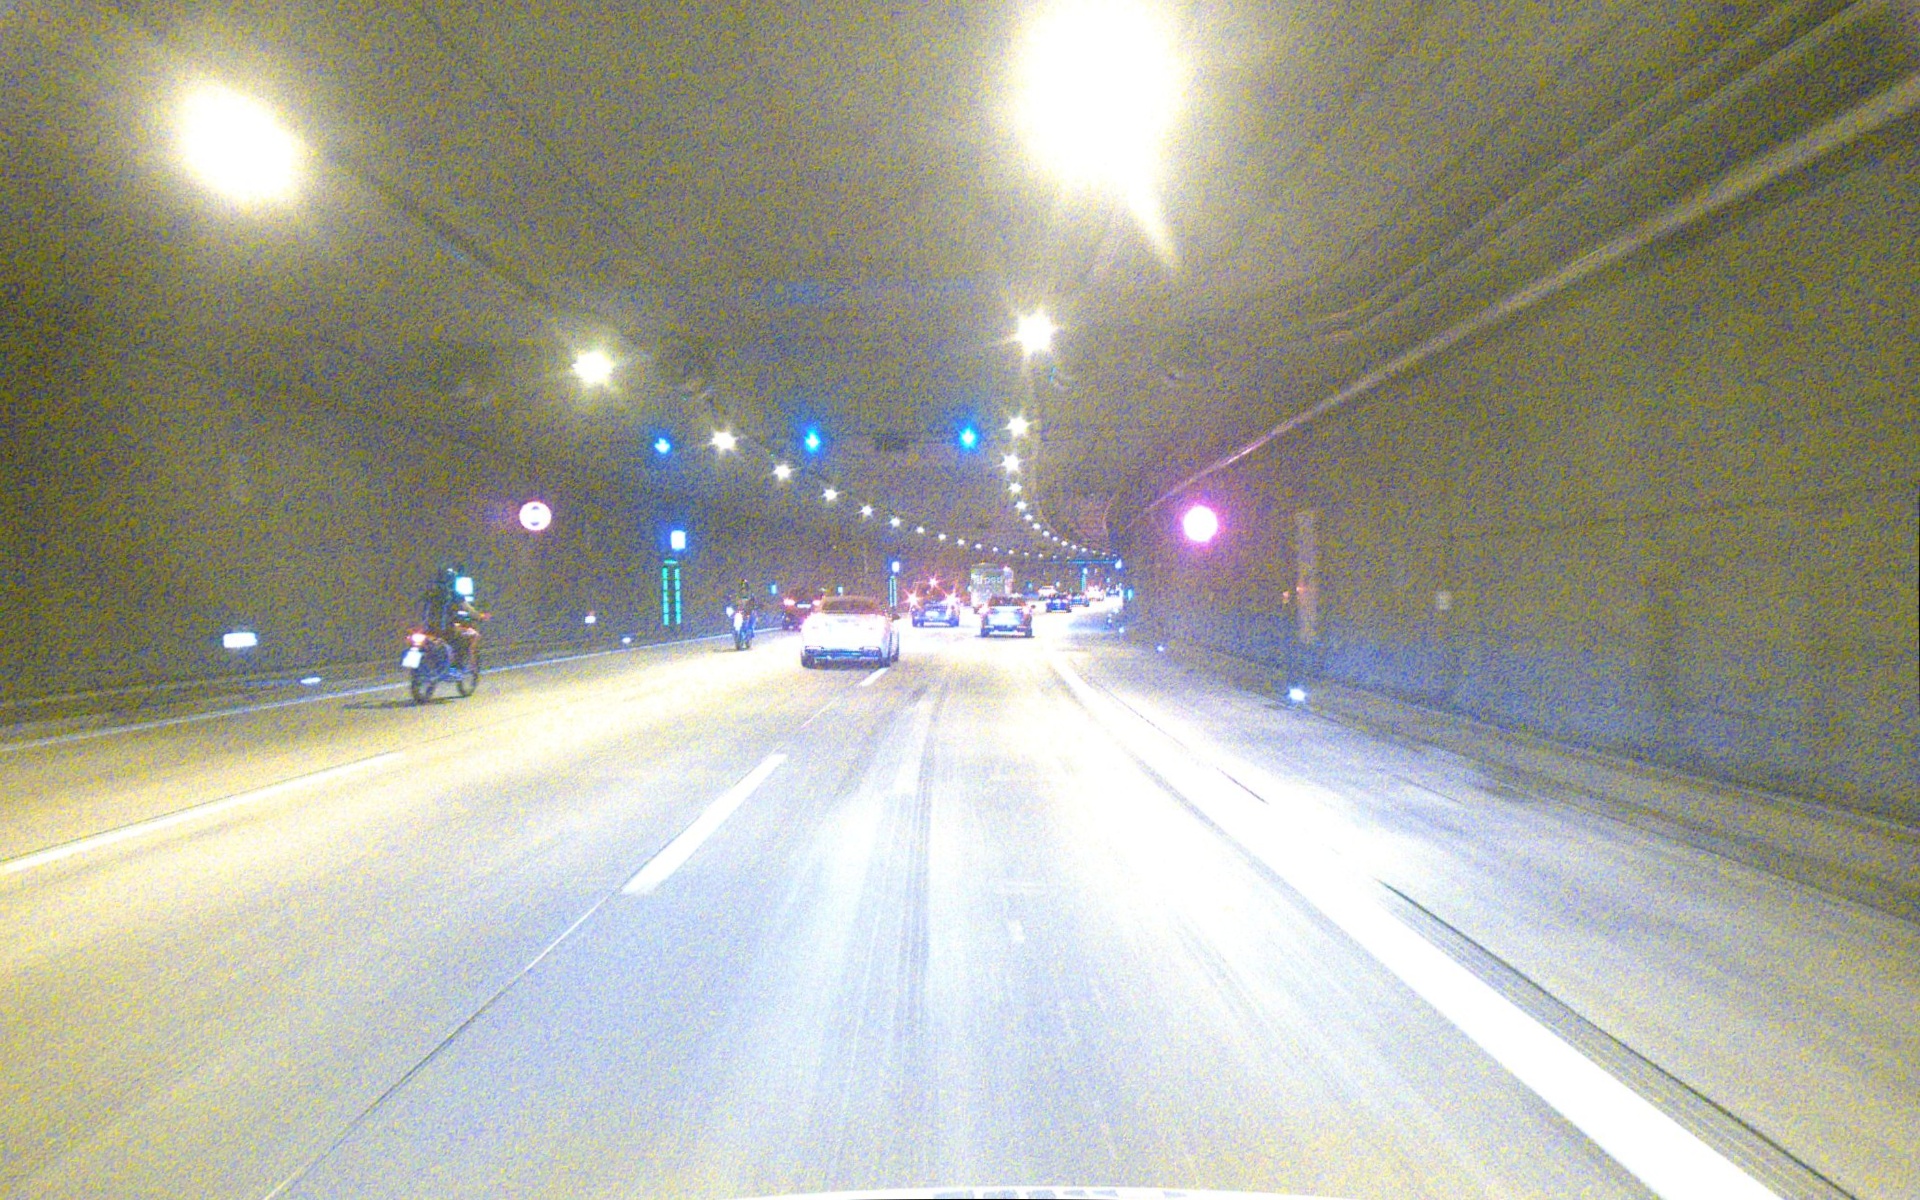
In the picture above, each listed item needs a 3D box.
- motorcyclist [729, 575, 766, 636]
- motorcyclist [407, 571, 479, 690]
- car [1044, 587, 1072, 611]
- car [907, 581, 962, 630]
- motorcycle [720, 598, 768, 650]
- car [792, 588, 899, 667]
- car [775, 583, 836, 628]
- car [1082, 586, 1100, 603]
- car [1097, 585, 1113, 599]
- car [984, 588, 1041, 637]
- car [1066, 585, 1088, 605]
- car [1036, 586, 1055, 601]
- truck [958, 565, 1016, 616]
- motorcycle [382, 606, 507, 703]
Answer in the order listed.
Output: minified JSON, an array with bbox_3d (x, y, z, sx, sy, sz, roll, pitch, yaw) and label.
[{"bbox_3d":[-5.434,0.134,42.272,0.822,1.503,0.822,1,2,0],"label":"motorcyclist"},{"bbox_3d":[-6.810,0.388,21.812,0.614,1.515,0.890,3,1,-1],"label":"motorcyclist"},{"bbox_3d":[7.128,-0.090,119.923,1.804,1.595,4.003,-2,0,6],"label":"car"},{"bbox_3d":[-1.057,0.219,71.693,1.951,2.006,4.002,2,0,4],"label":"car"},{"bbox_3d":[-5.445,0.595,41.879,0.828,1.267,2.604,1,0,1],"label":"motorcycle"},{"bbox_3d":[-2.280,0.524,33.934,1.953,1.509,3.999,0,0,-1],"label":"car"},{"bbox_3d":[-5.847,0.202,63.000,1.748,1.626,3.803,1,0,3],"label":"car"},{"bbox_3d":[14.339,-0.594,181.500,1.923,1.781,4.002,-2,0,4],"label":"car"},{"bbox_3d":[18.452,-1.036,210.123,1.794,1.720,4.003,-2,0,8],"label":"car"},{"bbox_3d":[1.874,0.404,57.833,1.801,1.630,4.002,1,0,4],"label":"car"},{"bbox_3d":[10.467,-0.482,147.894,1.819,1.695,4.003,-2,0,6],"label":"car"},{"bbox_3d":[9.413,-0.710,182.376,1.791,1.646,4.003,-2,0,7],"label":"car"},{"bbox_3d":[1.931,-0.730,113.624,3.017,3.167,10.037,-3,1,6],"label":"truck"},{"bbox_3d":[-6.827,0.694,22.041,1.032,1.177,2.426,1,0,-4],"label":"motorcycle"}]
